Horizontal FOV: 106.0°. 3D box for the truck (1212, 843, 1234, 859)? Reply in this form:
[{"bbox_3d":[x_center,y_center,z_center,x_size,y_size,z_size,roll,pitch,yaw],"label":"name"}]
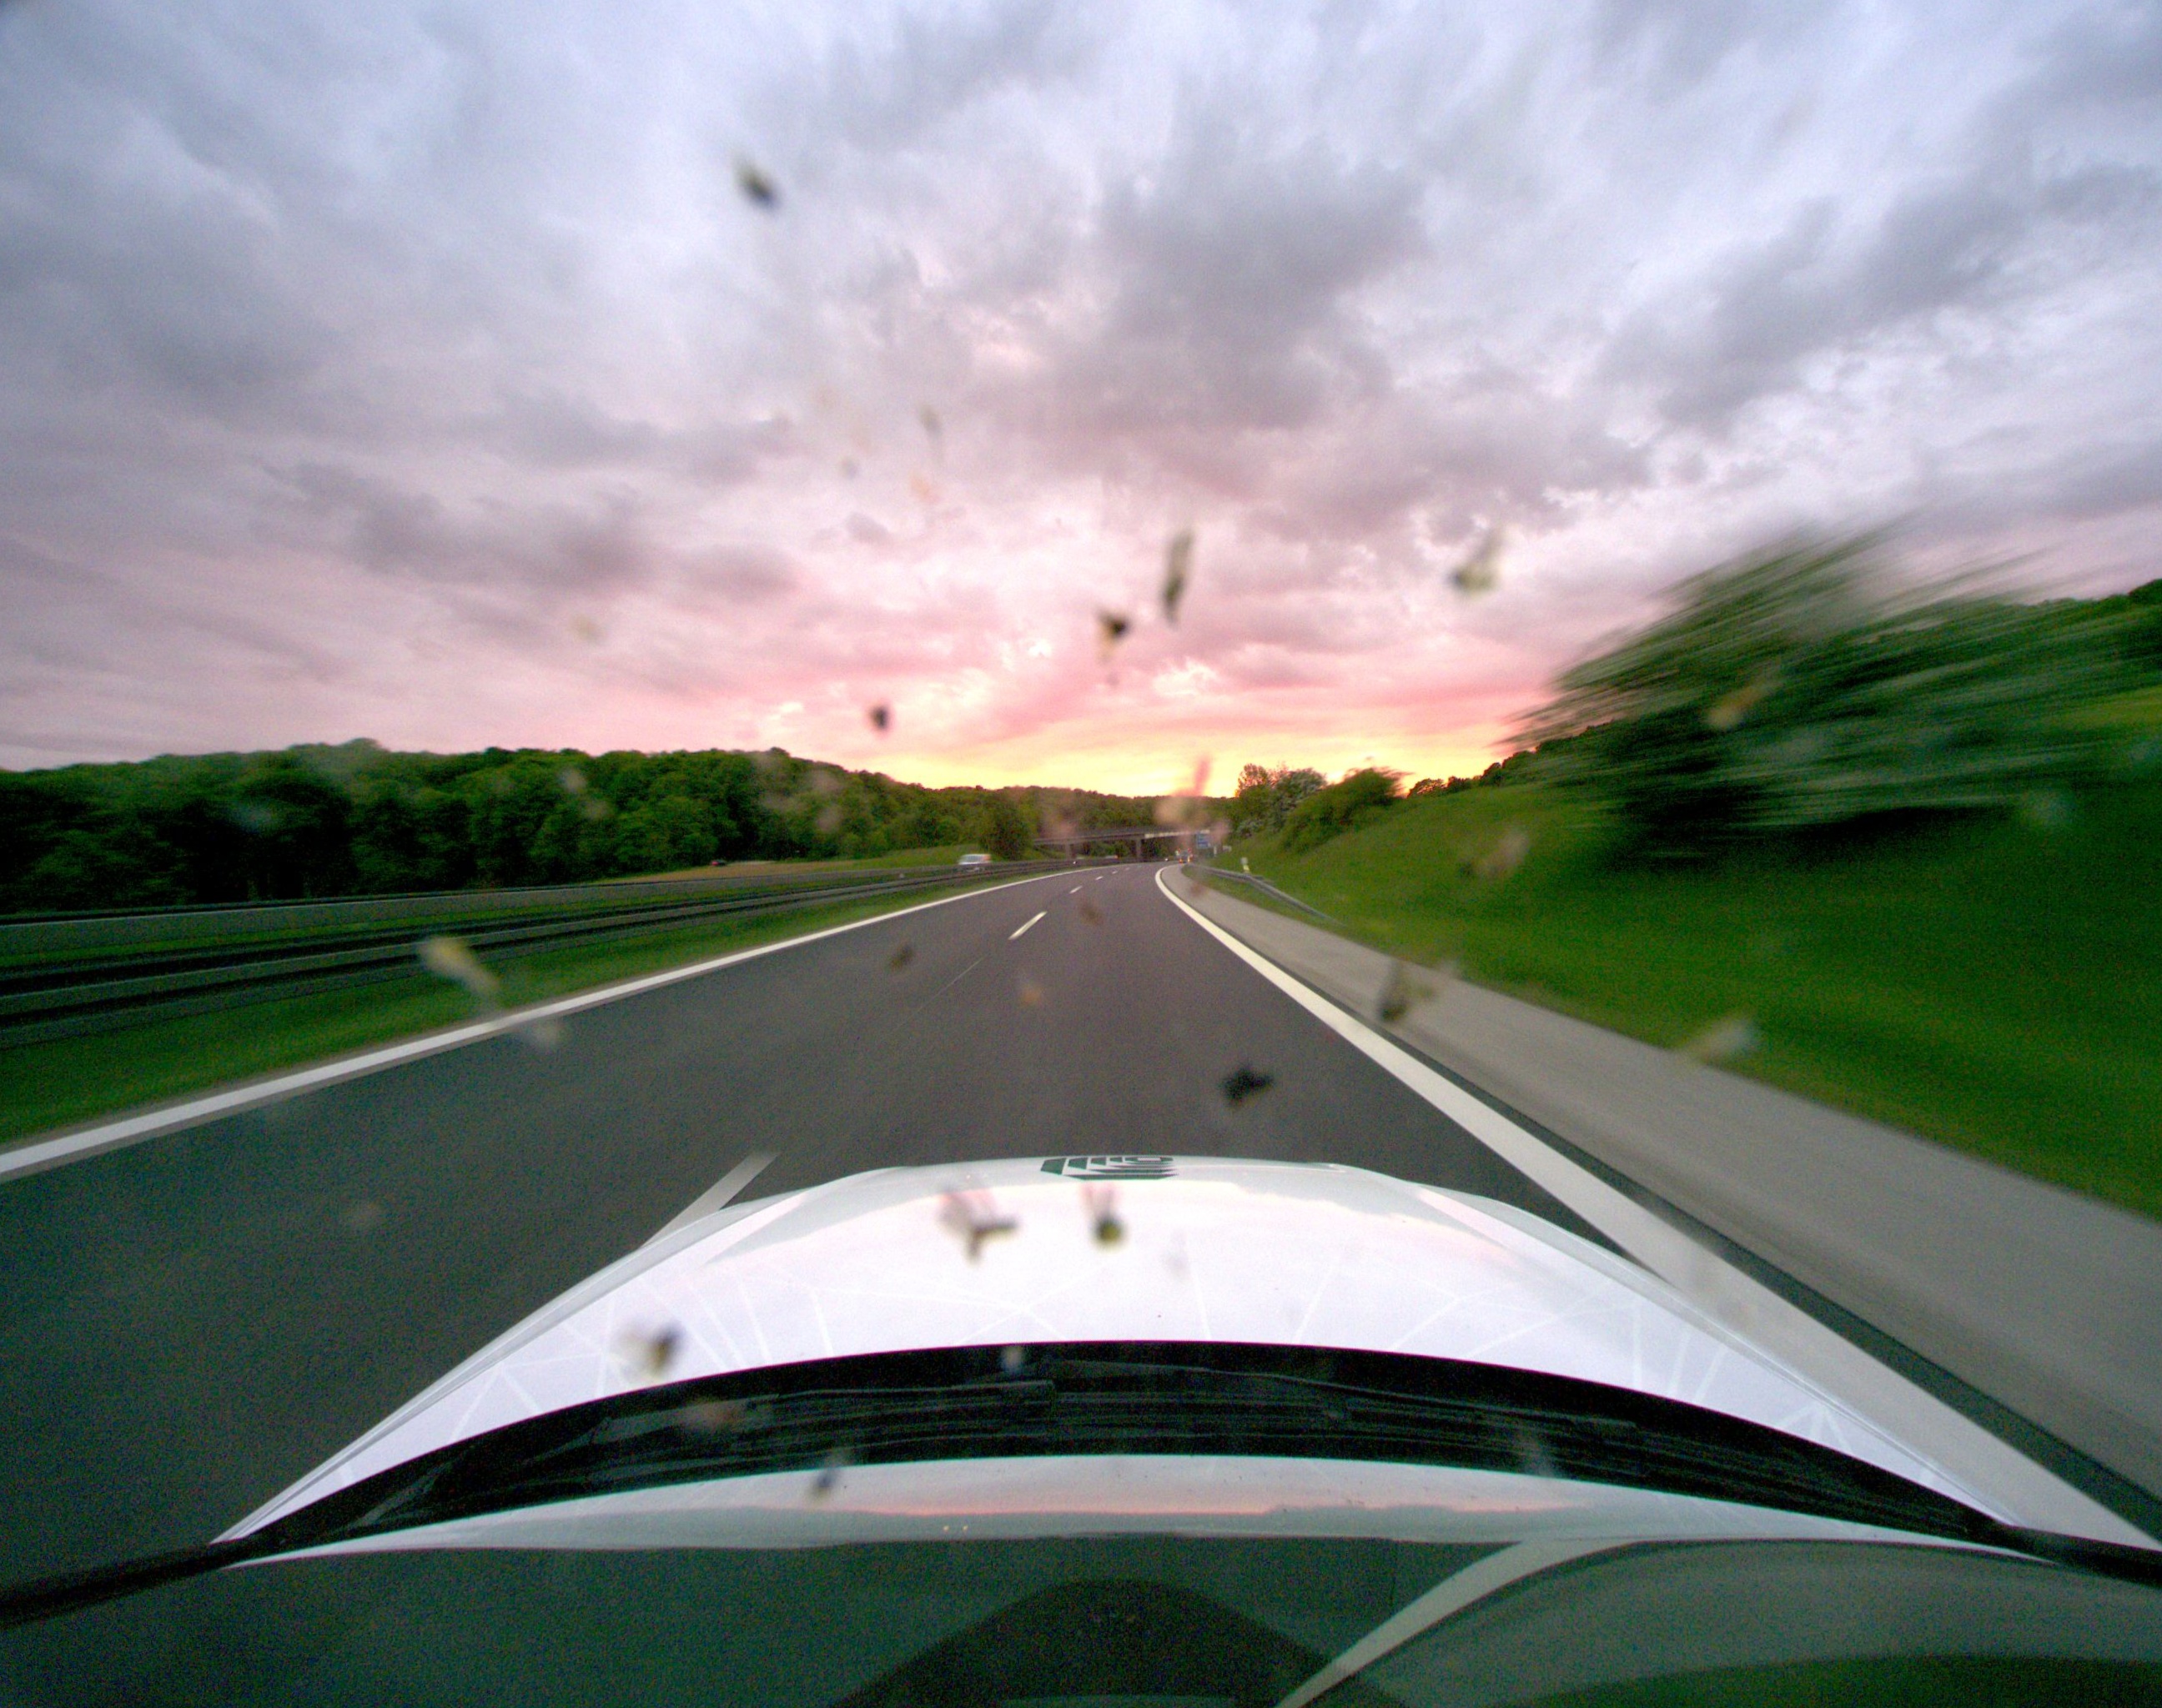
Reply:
[{"bbox_3d":[39.913,-0.915,228.543,3.925,4.287,14.392,-2,0,19],"label":"truck"}]

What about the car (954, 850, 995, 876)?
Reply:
[{"bbox_3d":[-9.734,0.776,75.121,2.269,2.013,5.269,-7,0,7],"label":"car"}]

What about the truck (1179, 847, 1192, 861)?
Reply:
[{"bbox_3d":[20.808,-0.006,162.335,2.262,2.665,5.251,-3,1,10],"label":"truck"}]
